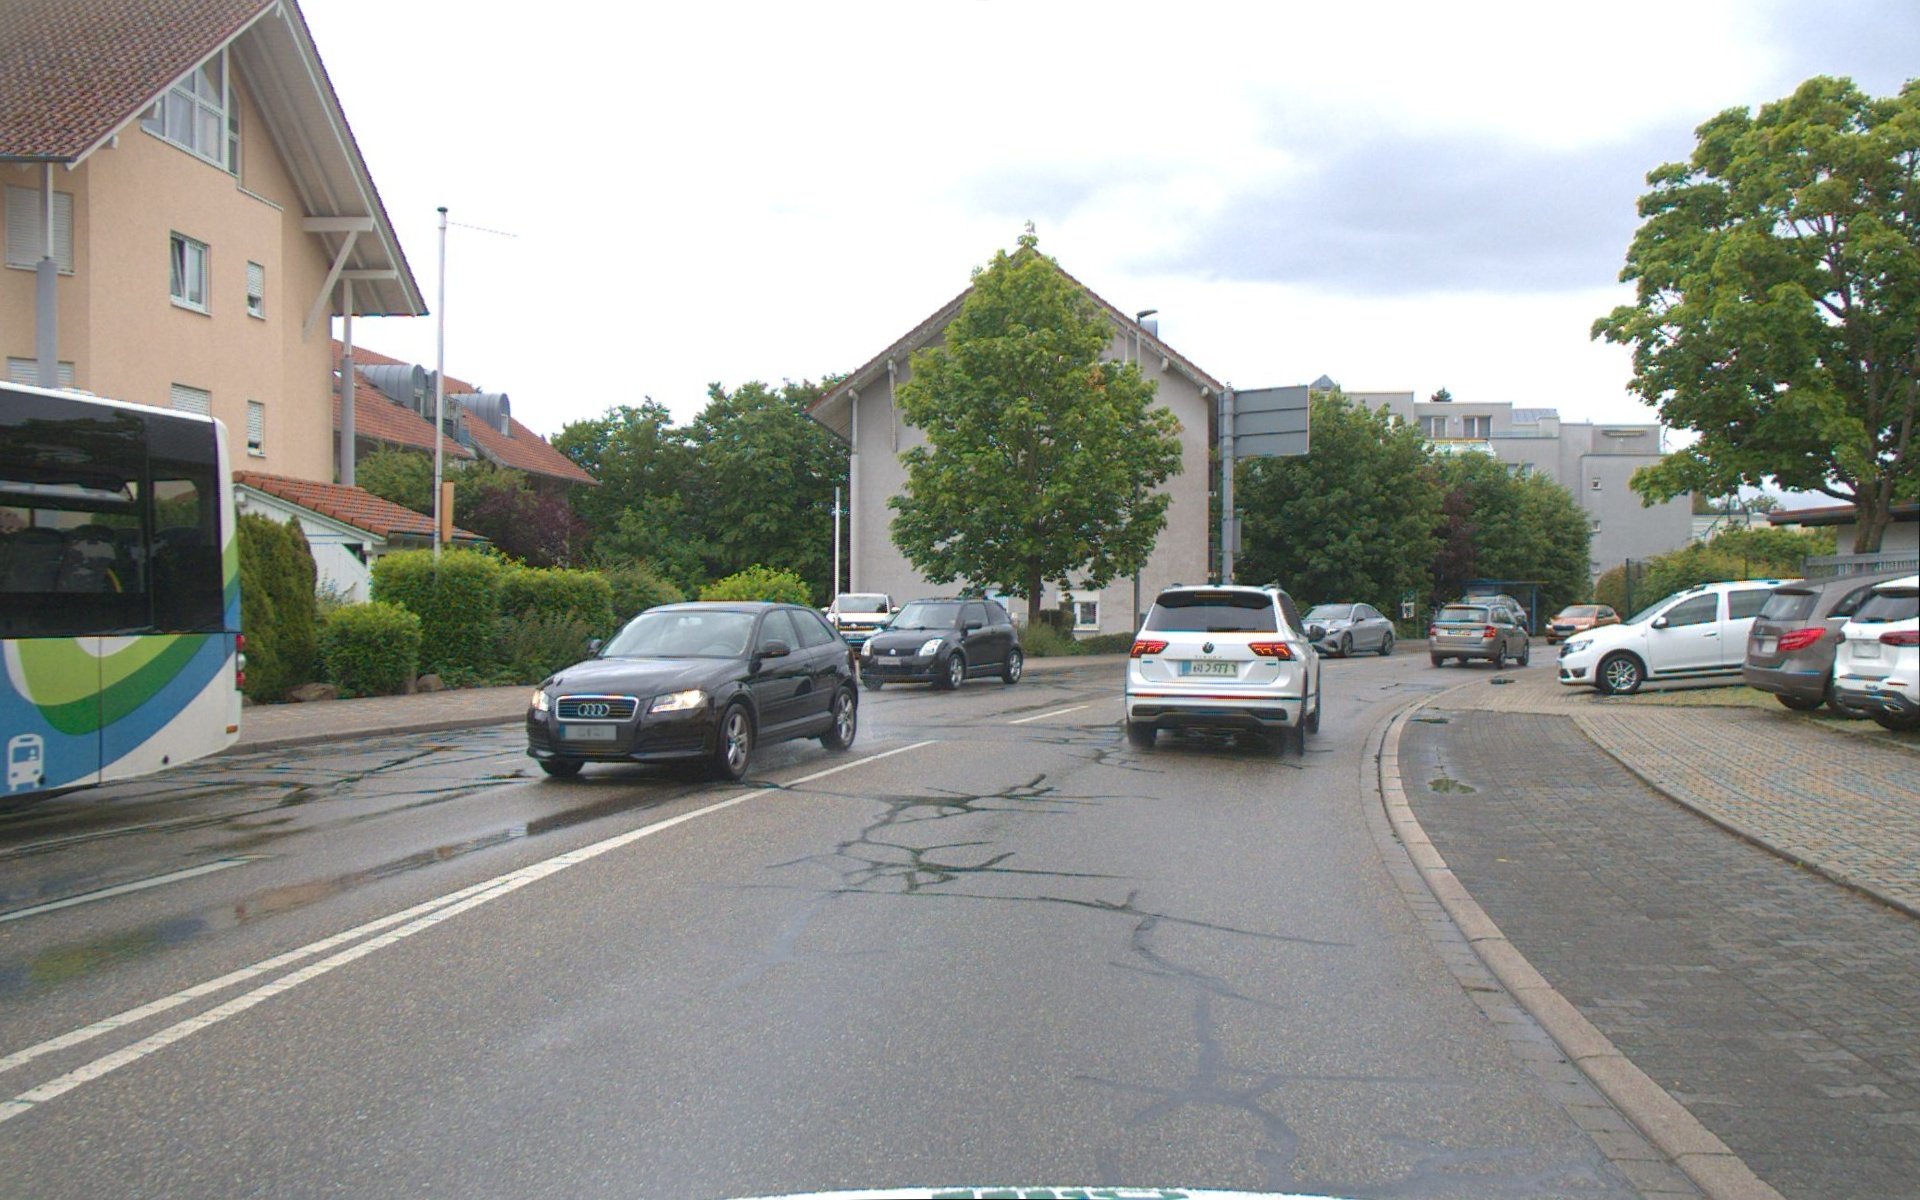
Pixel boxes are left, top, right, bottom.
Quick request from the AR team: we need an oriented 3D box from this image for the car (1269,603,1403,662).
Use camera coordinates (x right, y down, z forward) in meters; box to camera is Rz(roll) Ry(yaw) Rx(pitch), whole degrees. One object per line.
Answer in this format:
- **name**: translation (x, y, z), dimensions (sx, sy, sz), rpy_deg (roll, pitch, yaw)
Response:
- **car**: translation (10.137, 0.829, 44.347), dimensions (1.870, 1.415, 4.471), rpy_deg (2, 2, 37)

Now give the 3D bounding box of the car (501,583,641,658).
- **car**: translation (-9.422, 0.547, 40.437), dimensions (1.951, 1.680, 4.003), rpy_deg (1, -2, 8)

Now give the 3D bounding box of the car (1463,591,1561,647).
- **car**: translation (18.377, 0.598, 54.974), dimensions (1.870, 1.686, 4.250), rpy_deg (1, 2, 36)

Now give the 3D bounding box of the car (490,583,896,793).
- **car**: translation (-2.166, 0.662, 14.778), dimensions (1.821, 1.545, 4.294), rpy_deg (1, 0, 18)

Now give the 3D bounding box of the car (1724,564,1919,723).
- **car**: translation (11.061, 0.395, 18.655), dimensions (3.959, 1.624, 1.906), rpy_deg (-4, -1, 7)

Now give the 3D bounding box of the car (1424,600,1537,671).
- **car**: translation (12.365, 0.867, 39.140), dimensions (1.732, 1.536, 3.992), rpy_deg (1, -2, 30)

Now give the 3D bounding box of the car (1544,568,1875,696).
- **car**: translation (11.271, 0.481, 25.175), dimensions (4.248, 1.624, 1.767), rpy_deg (-4, -1, 14)

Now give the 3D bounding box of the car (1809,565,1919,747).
- **car**: translation (10.558, 0.391, 15.690), dimensions (3.959, 1.624, 1.897), rpy_deg (-4, -1, 5)

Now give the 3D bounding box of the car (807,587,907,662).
- **car**: translation (-2.442, 0.621, 40.153), dimensions (1.952, 1.680, 4.001), rpy_deg (2, -2, 2)

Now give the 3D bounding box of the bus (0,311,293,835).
- **bus**: translation (-7.162, -0.123, 8.460), dimensions (2.530, 3.052, 8.413), rpy_deg (-1, 0, 13)

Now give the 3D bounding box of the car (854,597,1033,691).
- **car**: translation (-0.209, 0.694, 27.967), dimensions (1.556, 1.447, 3.692), rpy_deg (-1, 0, 26)

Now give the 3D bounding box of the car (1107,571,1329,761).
- **car**: translation (2.917, 0.630, 17.884), dimensions (1.880, 1.752, 4.268), rpy_deg (1, 0, 15)
